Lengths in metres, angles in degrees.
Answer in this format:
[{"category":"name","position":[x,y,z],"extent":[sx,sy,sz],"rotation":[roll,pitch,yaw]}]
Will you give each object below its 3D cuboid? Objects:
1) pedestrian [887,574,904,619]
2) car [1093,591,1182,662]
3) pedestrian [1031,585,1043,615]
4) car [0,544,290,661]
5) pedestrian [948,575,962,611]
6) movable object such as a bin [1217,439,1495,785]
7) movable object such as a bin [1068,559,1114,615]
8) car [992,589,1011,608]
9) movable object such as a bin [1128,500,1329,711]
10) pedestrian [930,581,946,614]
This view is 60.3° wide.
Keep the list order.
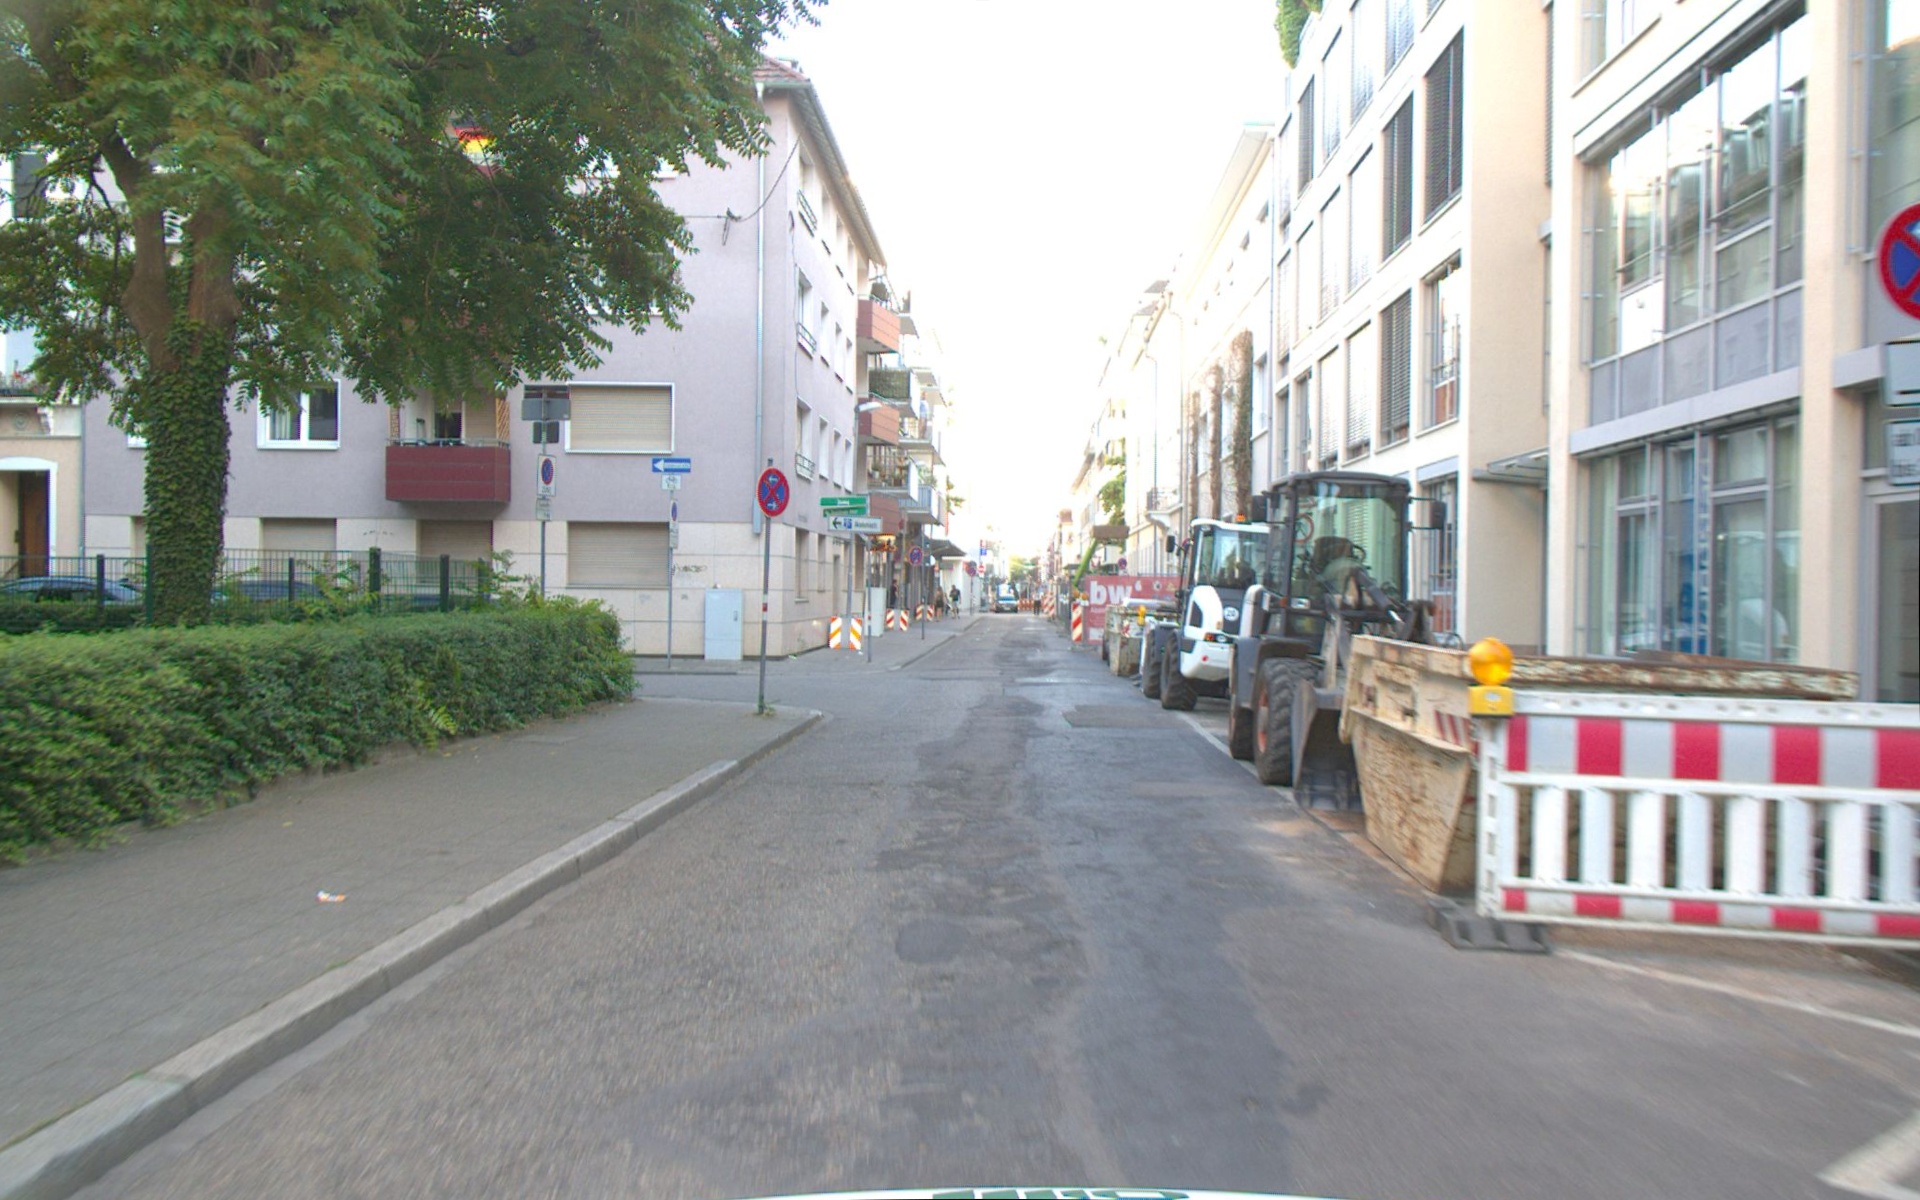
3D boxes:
[{"category":"pedestrian","position":[-2.638,-0.139,68.049],"extent":[0.616,1.839,0.648],"rotation":[1,0,3]},{"category":"car","position":[3.910,0.542,37.072],"extent":[1.658,1.430,4.481],"rotation":[1,1,2]},{"category":"pedestrian","position":[4.684,-0.012,100.298],"extent":[0.705,1.770,0.647],"rotation":[0,0,0]},{"category":"car","position":[-12.705,0.008,25.154],"extent":[4.278,1.668,1.829],"rotation":[1,1,3]},{"category":"pedestrian","position":[-0.267,-0.363,88.541],"extent":[0.640,1.919,0.574],"rotation":[1,0,5]},{"category":"movable object such as a bin","position":[3.396,0.067,14.921],"extent":[1.758,2.680,4.113],"rotation":[0,1,4]},{"category":"movable object such as a bin","position":[7.686,-0.795,97.361],"extent":[2.419,3.185,4.299],"rotation":[1,1,2]},{"category":"car","position":[3.250,-0.113,128.864],"extent":[1.443,1.422,3.333],"rotation":[1,0,2]},{"category":"movable object such as a bin","position":[3.681,0.043,23.711],"extent":[2.121,2.641,5.545],"rotation":[1,0,2]},{"category":"pedestrian","position":[-1.052,-0.113,79.594],"extent":[0.634,1.592,0.629],"rotation":[1,0,-13]}]
